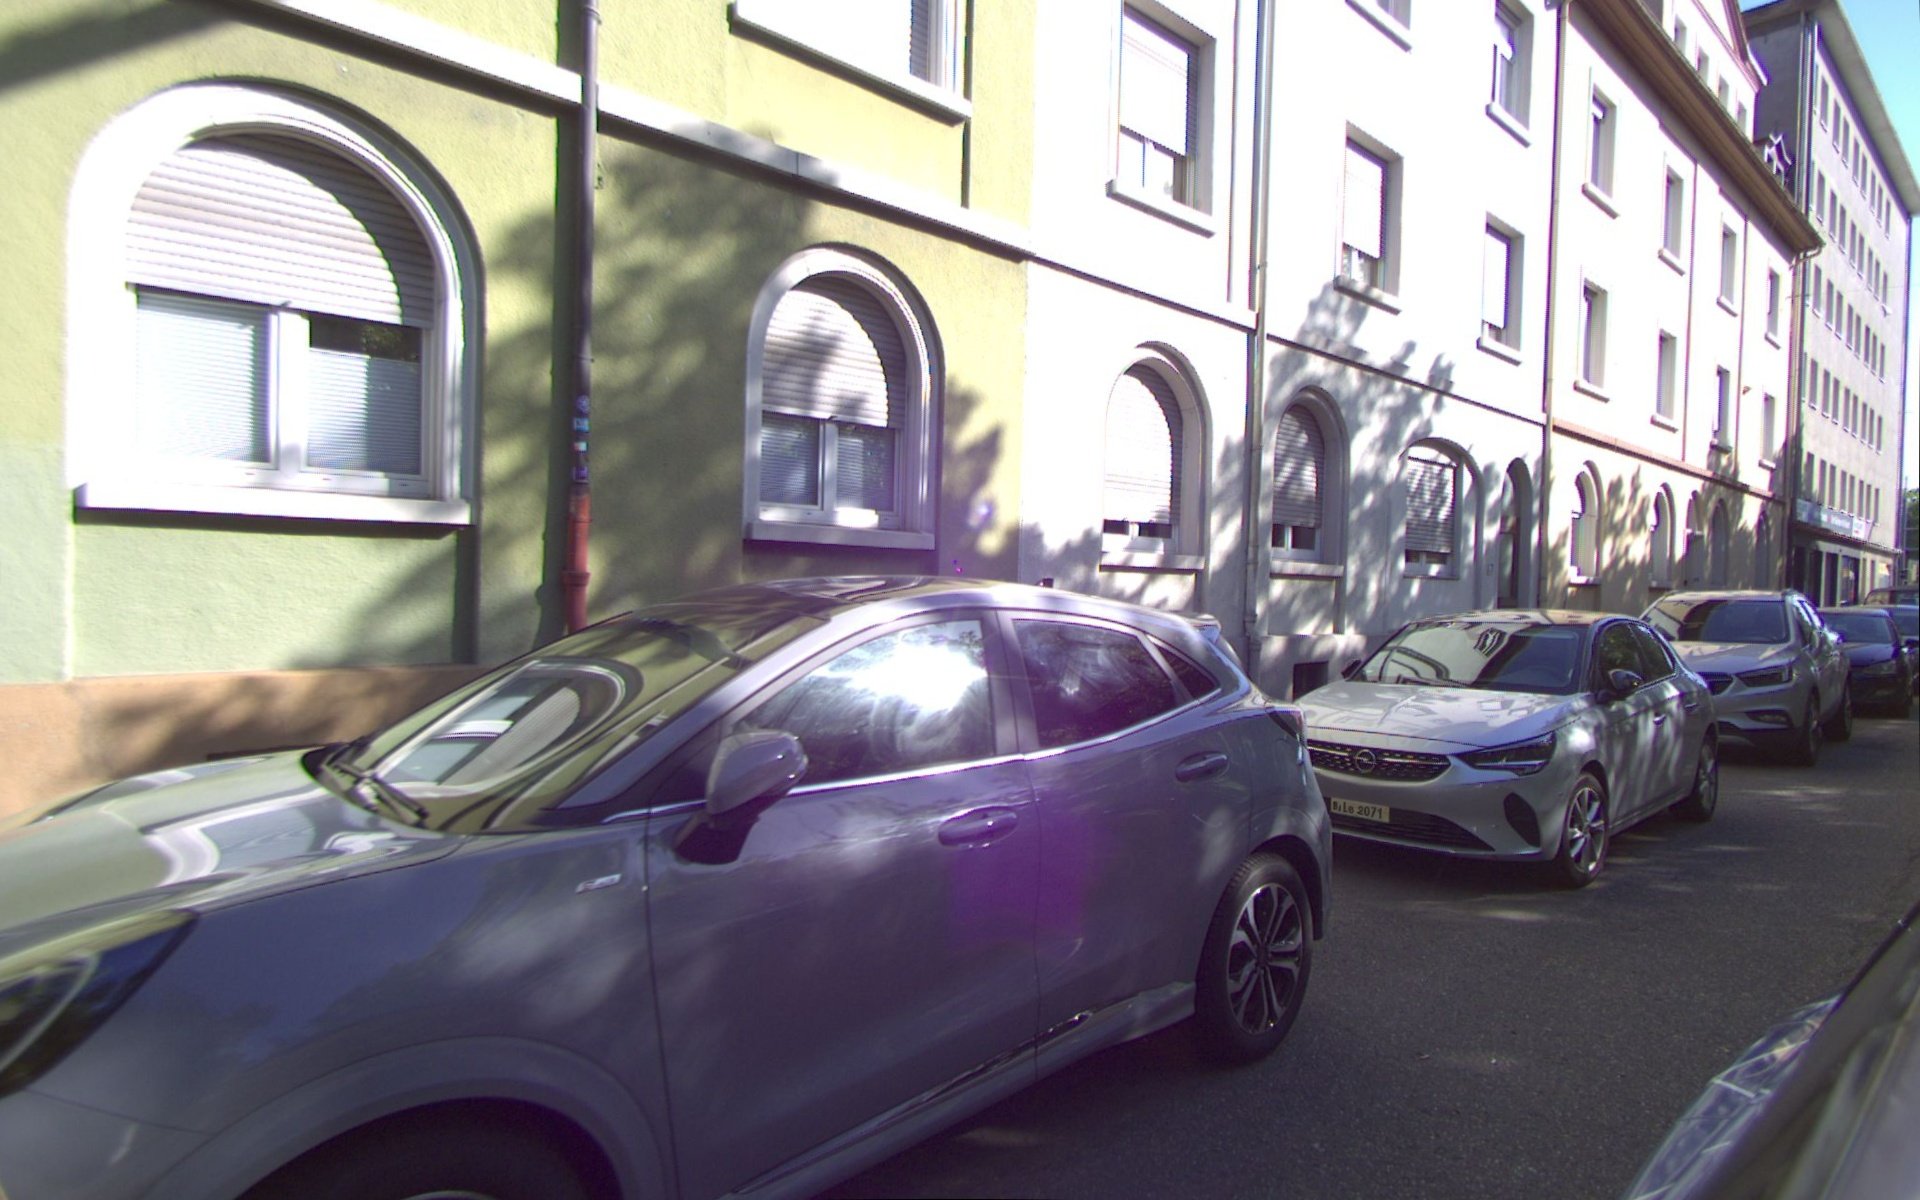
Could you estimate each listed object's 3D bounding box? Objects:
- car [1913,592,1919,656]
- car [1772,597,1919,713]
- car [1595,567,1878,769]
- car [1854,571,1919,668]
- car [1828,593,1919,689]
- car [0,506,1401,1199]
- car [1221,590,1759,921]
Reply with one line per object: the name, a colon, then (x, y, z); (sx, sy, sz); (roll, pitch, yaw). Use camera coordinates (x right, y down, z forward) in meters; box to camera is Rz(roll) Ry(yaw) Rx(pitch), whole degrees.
car: (25.004, 0.596, 24.995); (4.165, 1.519, 1.765); (0, 2, -42)
car: (12.964, 0.689, 14.563); (3.798, 1.411, 1.550); (0, 2, -45)
car: (8.304, 0.563, 10.684); (4.088, 1.707, 1.724); (0, 2, -43)
car: (20.827, 0.394, 21.602); (4.760, 1.924, 1.952); (0, 1, -41)
car: (16.699, 0.672, 17.913); (3.534, 1.517, 1.623); (0, 2, -43)
car: (-0.470, 0.638, 2.954); (4.088, 1.547, 1.724); (0, 2, -43)
car: (3.621, 0.700, 6.565); (4.085, 1.450, 1.725); (0, 2, -41)
